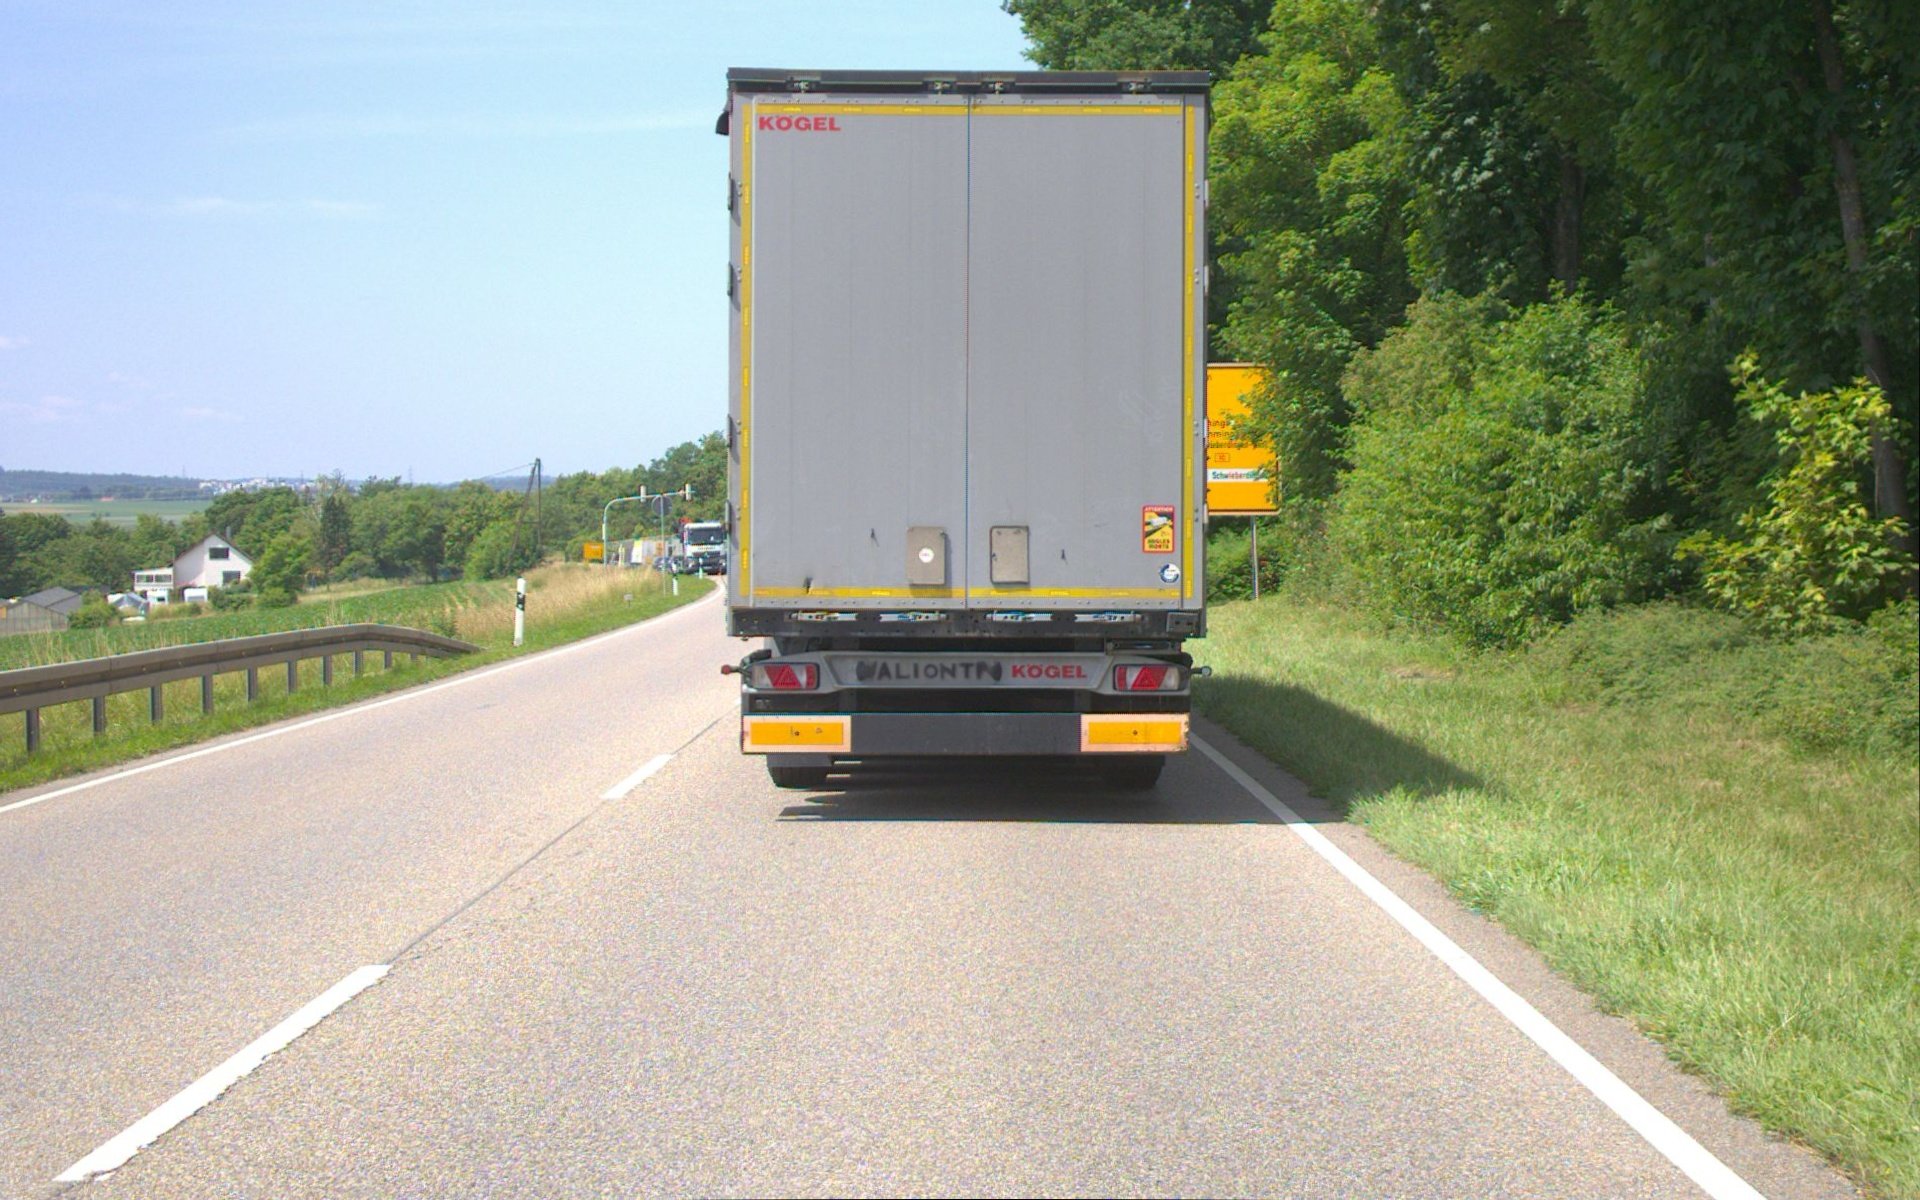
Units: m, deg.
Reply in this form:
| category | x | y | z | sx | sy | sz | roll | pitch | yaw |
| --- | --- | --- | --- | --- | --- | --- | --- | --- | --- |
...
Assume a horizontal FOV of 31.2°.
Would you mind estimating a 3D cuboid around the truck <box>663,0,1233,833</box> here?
| category | x | y | z | sx | sy | sz | roll | pitch | yaw |
| --- | --- | --- | --- | --- | --- | --- | --- | --- | --- |
| truck | -0.025 | -1.095 | 22.129 | 2.907 | 4.395 | 8.860 | 0 | 1 | 1 |

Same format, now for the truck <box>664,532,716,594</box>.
| category | x | y | z | sx | sy | sz | roll | pitch | yaw |
| --- | --- | --- | --- | --- | --- | --- | --- | --- | --- |
| truck | -16.476 | -2.232 | 209.372 | 2.756 | 3.564 | 11.067 | -3 | 0 | -5 |
